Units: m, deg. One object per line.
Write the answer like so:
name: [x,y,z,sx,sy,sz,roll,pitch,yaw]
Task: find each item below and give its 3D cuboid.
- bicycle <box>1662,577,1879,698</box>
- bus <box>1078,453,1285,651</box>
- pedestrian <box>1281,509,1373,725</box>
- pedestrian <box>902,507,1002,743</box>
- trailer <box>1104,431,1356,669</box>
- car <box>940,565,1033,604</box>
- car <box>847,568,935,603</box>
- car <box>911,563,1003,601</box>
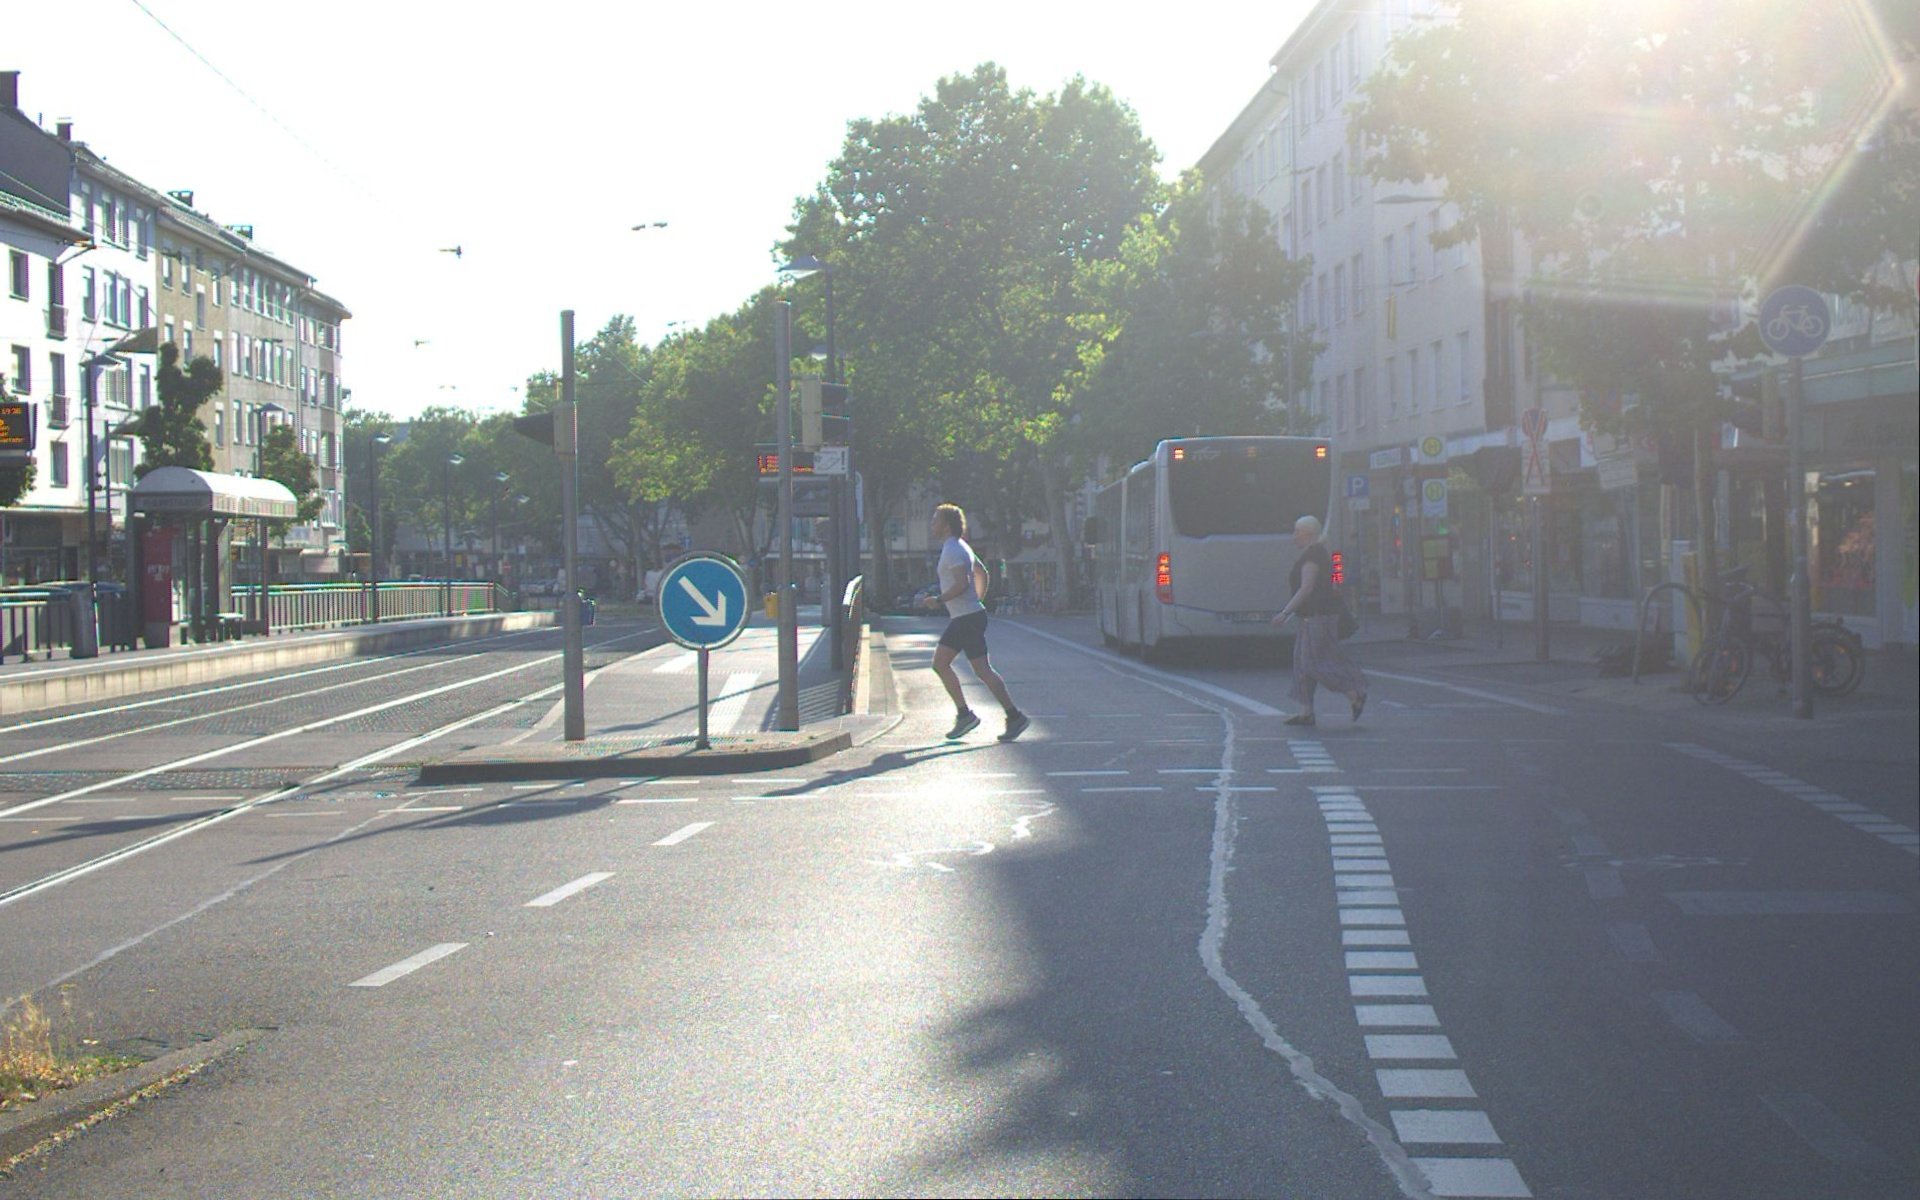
bicycle: [7.377,0.335,31.325,1.772,1.018,0.694,-2,1,-1]
bus: [3.663,-0.817,58.938,2.812,3.091,9.095,1,1,-1]
pedestrian: [3.043,0.132,28.550,0.680,1.764,0.687,0,1,0]
pedestrian: [-0.066,0.183,26.320,0.680,1.764,0.687,-1,1,-5]
trailer: [3.765,-0.718,49.995,2.812,3.100,8.795,1,1,-1]
car: [1.233,-0.729,158.552,3.889,1.693,1.833,-2,1,-29]
car: [-3.359,-0.695,166.566,3.889,1.591,1.691,-2,1,-29]
car: [-0.142,-0.846,161.191,3.889,1.693,1.833,-2,1,-29]
